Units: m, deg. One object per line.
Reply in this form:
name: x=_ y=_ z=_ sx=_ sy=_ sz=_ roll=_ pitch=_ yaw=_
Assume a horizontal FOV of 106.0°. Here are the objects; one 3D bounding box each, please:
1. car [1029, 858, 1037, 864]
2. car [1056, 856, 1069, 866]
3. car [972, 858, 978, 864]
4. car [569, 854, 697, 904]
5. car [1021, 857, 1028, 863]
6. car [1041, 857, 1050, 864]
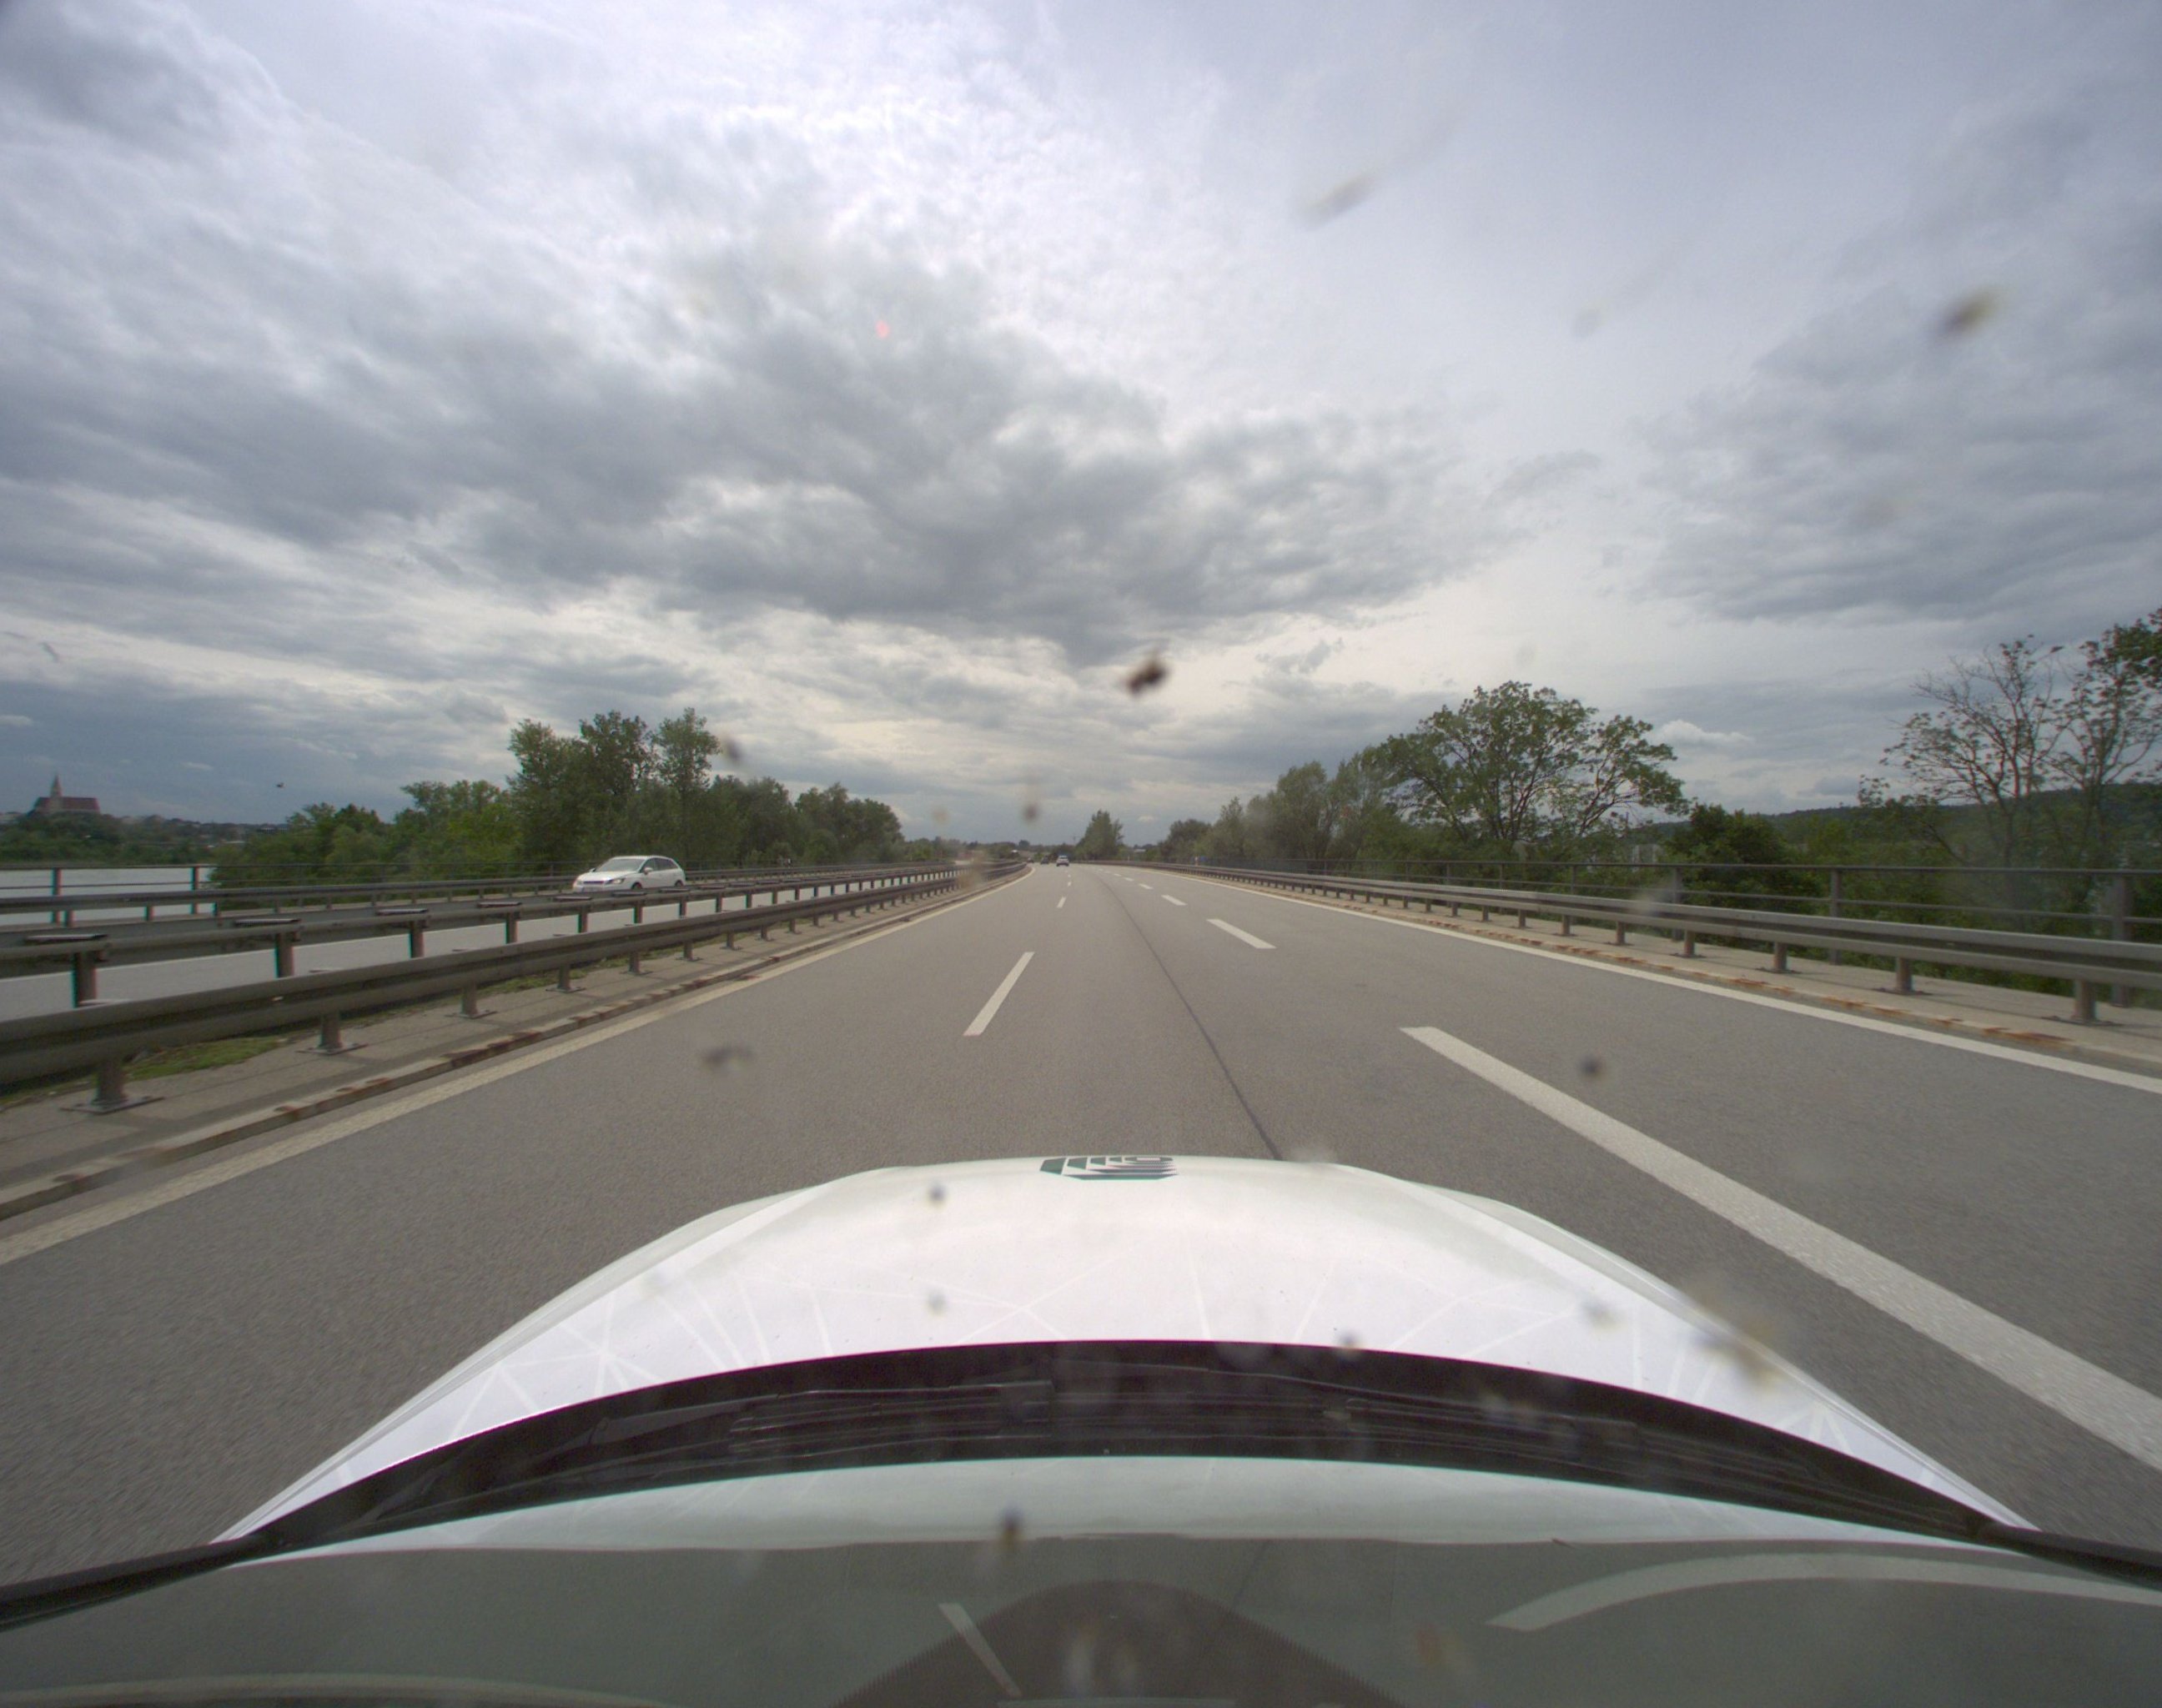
car: x=-13.235 y=1.930 z=224.710 sx=1.900 sy=1.640 sz=4.769 roll=0 pitch=-1 yaw=-6
car: x=-3.072 y=1.184 z=134.123 sx=1.899 sy=1.640 sz=4.388 roll=0 pitch=0 yaw=-5
car: x=-32.432 y=2.075 z=249.265 sx=1.640 sy=1.715 sz=4.971 roll=1 pitch=-1 yaw=-5
car: x=-13.713 y=0.709 z=25.220 sx=1.526 sy=1.407 sz=4.328 roll=0 pitch=0 yaw=1
car: x=-18.215 y=2.007 z=260.936 sx=1.827 sy=1.794 sz=4.398 roll=0 pitch=0 yaw=-10
car: x=-7.998 y=1.495 z=182.370 sx=1.890 sy=1.640 sz=4.612 roll=0 pitch=0 yaw=-6
